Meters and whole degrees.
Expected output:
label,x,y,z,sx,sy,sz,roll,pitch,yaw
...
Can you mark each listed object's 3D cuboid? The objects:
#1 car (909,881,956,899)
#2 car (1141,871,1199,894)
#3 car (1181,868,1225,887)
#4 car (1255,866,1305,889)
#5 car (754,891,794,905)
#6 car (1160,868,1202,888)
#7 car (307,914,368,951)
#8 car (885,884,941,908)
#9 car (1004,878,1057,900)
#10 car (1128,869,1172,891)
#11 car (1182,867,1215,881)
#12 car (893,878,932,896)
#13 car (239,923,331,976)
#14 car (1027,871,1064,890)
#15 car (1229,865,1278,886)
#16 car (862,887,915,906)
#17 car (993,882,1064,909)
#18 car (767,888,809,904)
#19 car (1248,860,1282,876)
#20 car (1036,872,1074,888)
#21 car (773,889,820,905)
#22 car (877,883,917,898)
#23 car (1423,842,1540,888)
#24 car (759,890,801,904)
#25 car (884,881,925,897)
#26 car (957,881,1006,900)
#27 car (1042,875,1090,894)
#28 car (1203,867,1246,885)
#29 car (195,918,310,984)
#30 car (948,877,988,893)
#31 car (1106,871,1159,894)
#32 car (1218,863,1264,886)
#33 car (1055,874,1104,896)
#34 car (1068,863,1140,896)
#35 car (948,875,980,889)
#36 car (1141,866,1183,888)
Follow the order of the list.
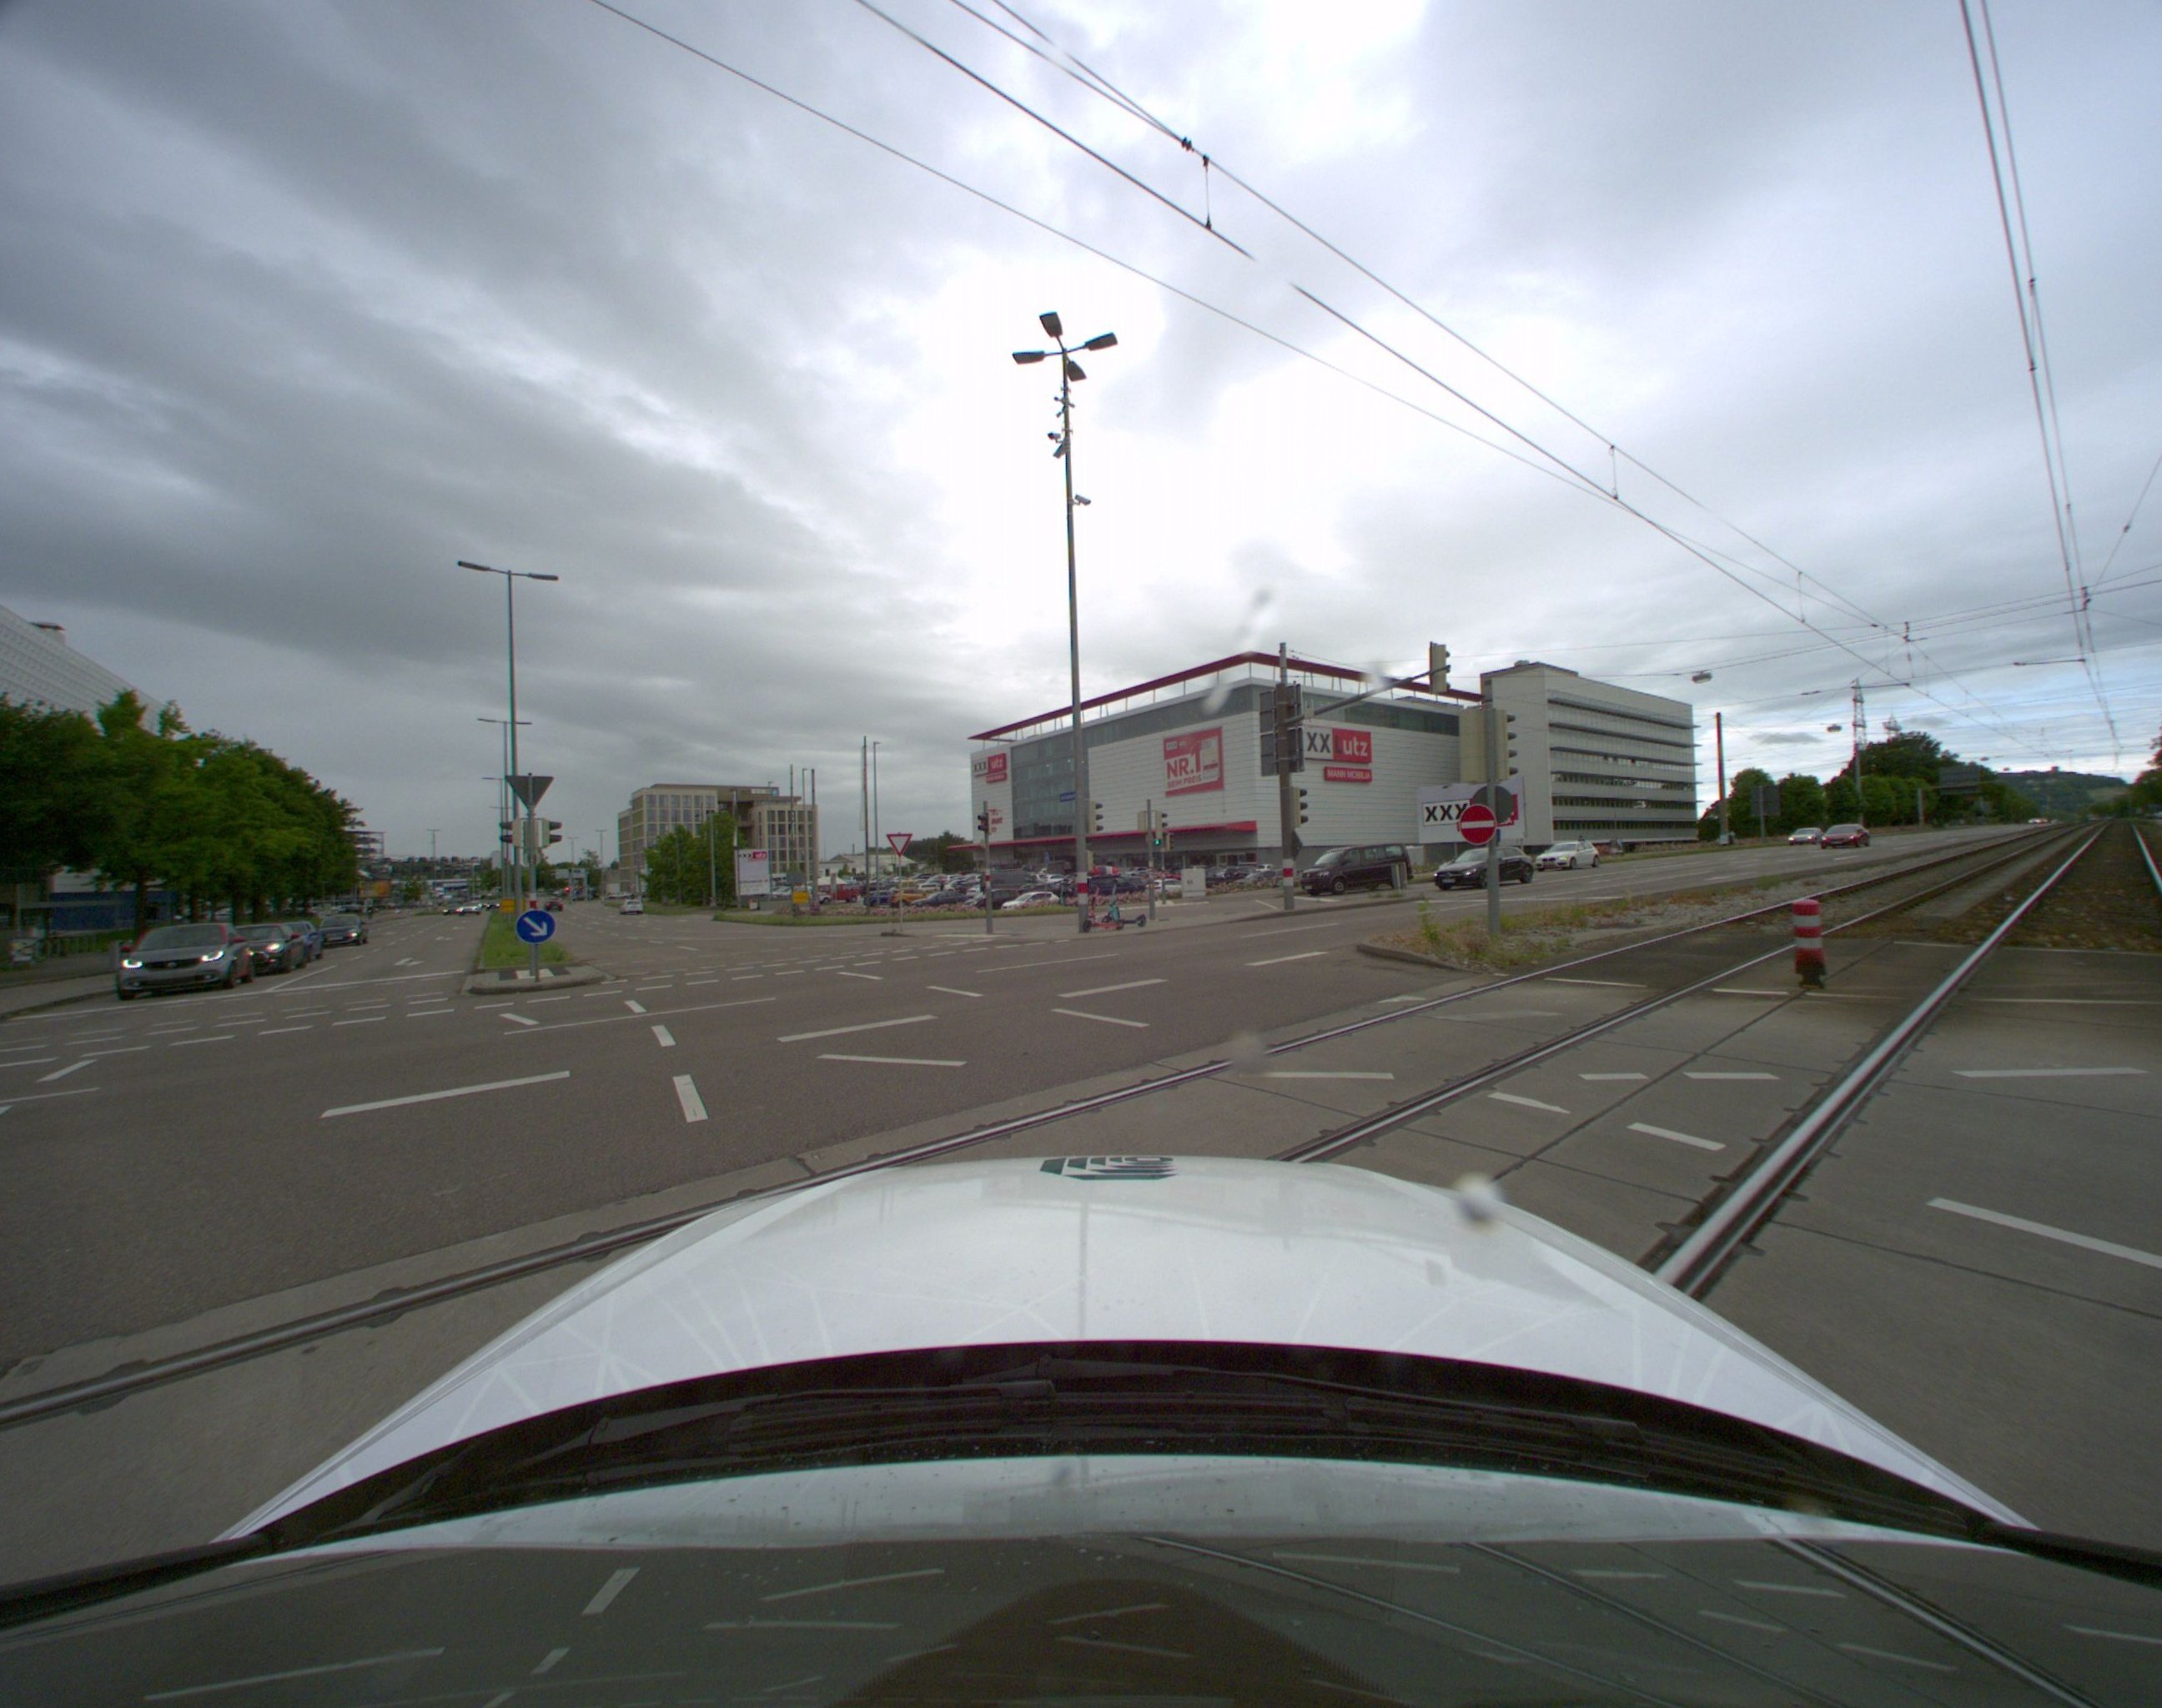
label,x,y,z,sx,sy,sz,roll,pitch,yaw
car,-15.479,3.715,84.922,4.444,1.583,1.815,-1,0,-34
car,6.821,2.184,62.402,4.228,1.476,1.727,-2,-2,-34
car,12.230,2.308,81.785,4.016,1.654,1.929,-2,-2,-34
car,16.270,1.932,66.433,4.020,1.665,1.864,-2,-1,-39
car,-35.779,5.080,94.965,4.086,1.350,1.744,-1,0,-37
car,10.345,2.437,83.880,4.016,1.818,1.801,-3,-2,-34
car,-34.972,3.656,38.390,1.615,1.497,3.992,-4,-1,-36
car,-13.559,3.375,65.767,4.014,1.643,1.797,-2,-2,-31
car,-4.272,2.977,69.192,4.017,1.568,1.978,-3,-1,-35
car,6.821,2.591,80.719,4.017,1.861,1.813,-3,-1,-35
car,14.123,2.397,97.861,3.631,1.560,1.633,-3,0,-35
car,-18.502,3.616,89.431,3.764,1.768,1.715,-1,0,-34
car,-26.881,3.165,27.629,1.615,1.444,4.097,-4,-1,-36
car,-4.170,3.116,96.819,4.019,2.056,1.892,-1,0,-38
car,14.534,1.770,68.474,4.020,1.516,1.812,-3,-1,-39
car,-16.448,3.635,69.632,4.017,1.455,1.795,-2,-2,-35
car,-3.273,2.581,51.309,4.139,1.445,1.854,-1,0,-37
car,-32.548,4.687,90.563,4.084,1.541,1.745,-1,0,-34
car,20.189,1.523,89.355,3.631,1.560,1.633,-3,0,-35
car,-2.998,3.020,94.379,4.019,1.655,1.813,-1,-2,-37
car,-30.974,4.675,88.675,4.498,1.419,1.847,-1,0,-34
car,-21.102,4.203,93.352,4.018,1.534,1.867,-1,-2,-37
car,14.698,0.385,29.852,4.221,1.464,1.819,-2,0,-31
car,-34.266,4.840,92.761,4.086,1.350,1.814,-1,0,-37
car,-19.781,3.876,91.375,4.016,1.596,1.859,-1,0,-35
car,-9.157,3.376,75.133,4.016,1.552,1.843,-1,-2,-34
car,-1.390,2.807,74.860,4.017,1.556,1.835,-1,-2,-35
car,14.169,2.139,80.151,4.016,1.531,1.759,-3,-1,-34
car,-23.281,2.661,23.028,1.675,1.503,4.019,-2,-2,-37
car,-12.528,3.434,90.603,4.016,1.635,1.767,-1,-2,-34
car,4.253,2.339,67.206,4.018,1.675,1.977,-1,-2,-37
car,15.266,1.991,77.829,4.016,1.929,1.929,-2,-2,-34
car,-0.117,2.772,72.525,4.016,1.670,1.865,-2,-1,-34
car,1.743,1.921,61.635,5.069,2.165,2.101,-2,-2,-31
car,-16.136,3.848,112.360,4.013,1.750,1.876,-1,-2,-31
car,8.522,2.437,85.537,4.017,2.013,1.978,-3,-1,-35
